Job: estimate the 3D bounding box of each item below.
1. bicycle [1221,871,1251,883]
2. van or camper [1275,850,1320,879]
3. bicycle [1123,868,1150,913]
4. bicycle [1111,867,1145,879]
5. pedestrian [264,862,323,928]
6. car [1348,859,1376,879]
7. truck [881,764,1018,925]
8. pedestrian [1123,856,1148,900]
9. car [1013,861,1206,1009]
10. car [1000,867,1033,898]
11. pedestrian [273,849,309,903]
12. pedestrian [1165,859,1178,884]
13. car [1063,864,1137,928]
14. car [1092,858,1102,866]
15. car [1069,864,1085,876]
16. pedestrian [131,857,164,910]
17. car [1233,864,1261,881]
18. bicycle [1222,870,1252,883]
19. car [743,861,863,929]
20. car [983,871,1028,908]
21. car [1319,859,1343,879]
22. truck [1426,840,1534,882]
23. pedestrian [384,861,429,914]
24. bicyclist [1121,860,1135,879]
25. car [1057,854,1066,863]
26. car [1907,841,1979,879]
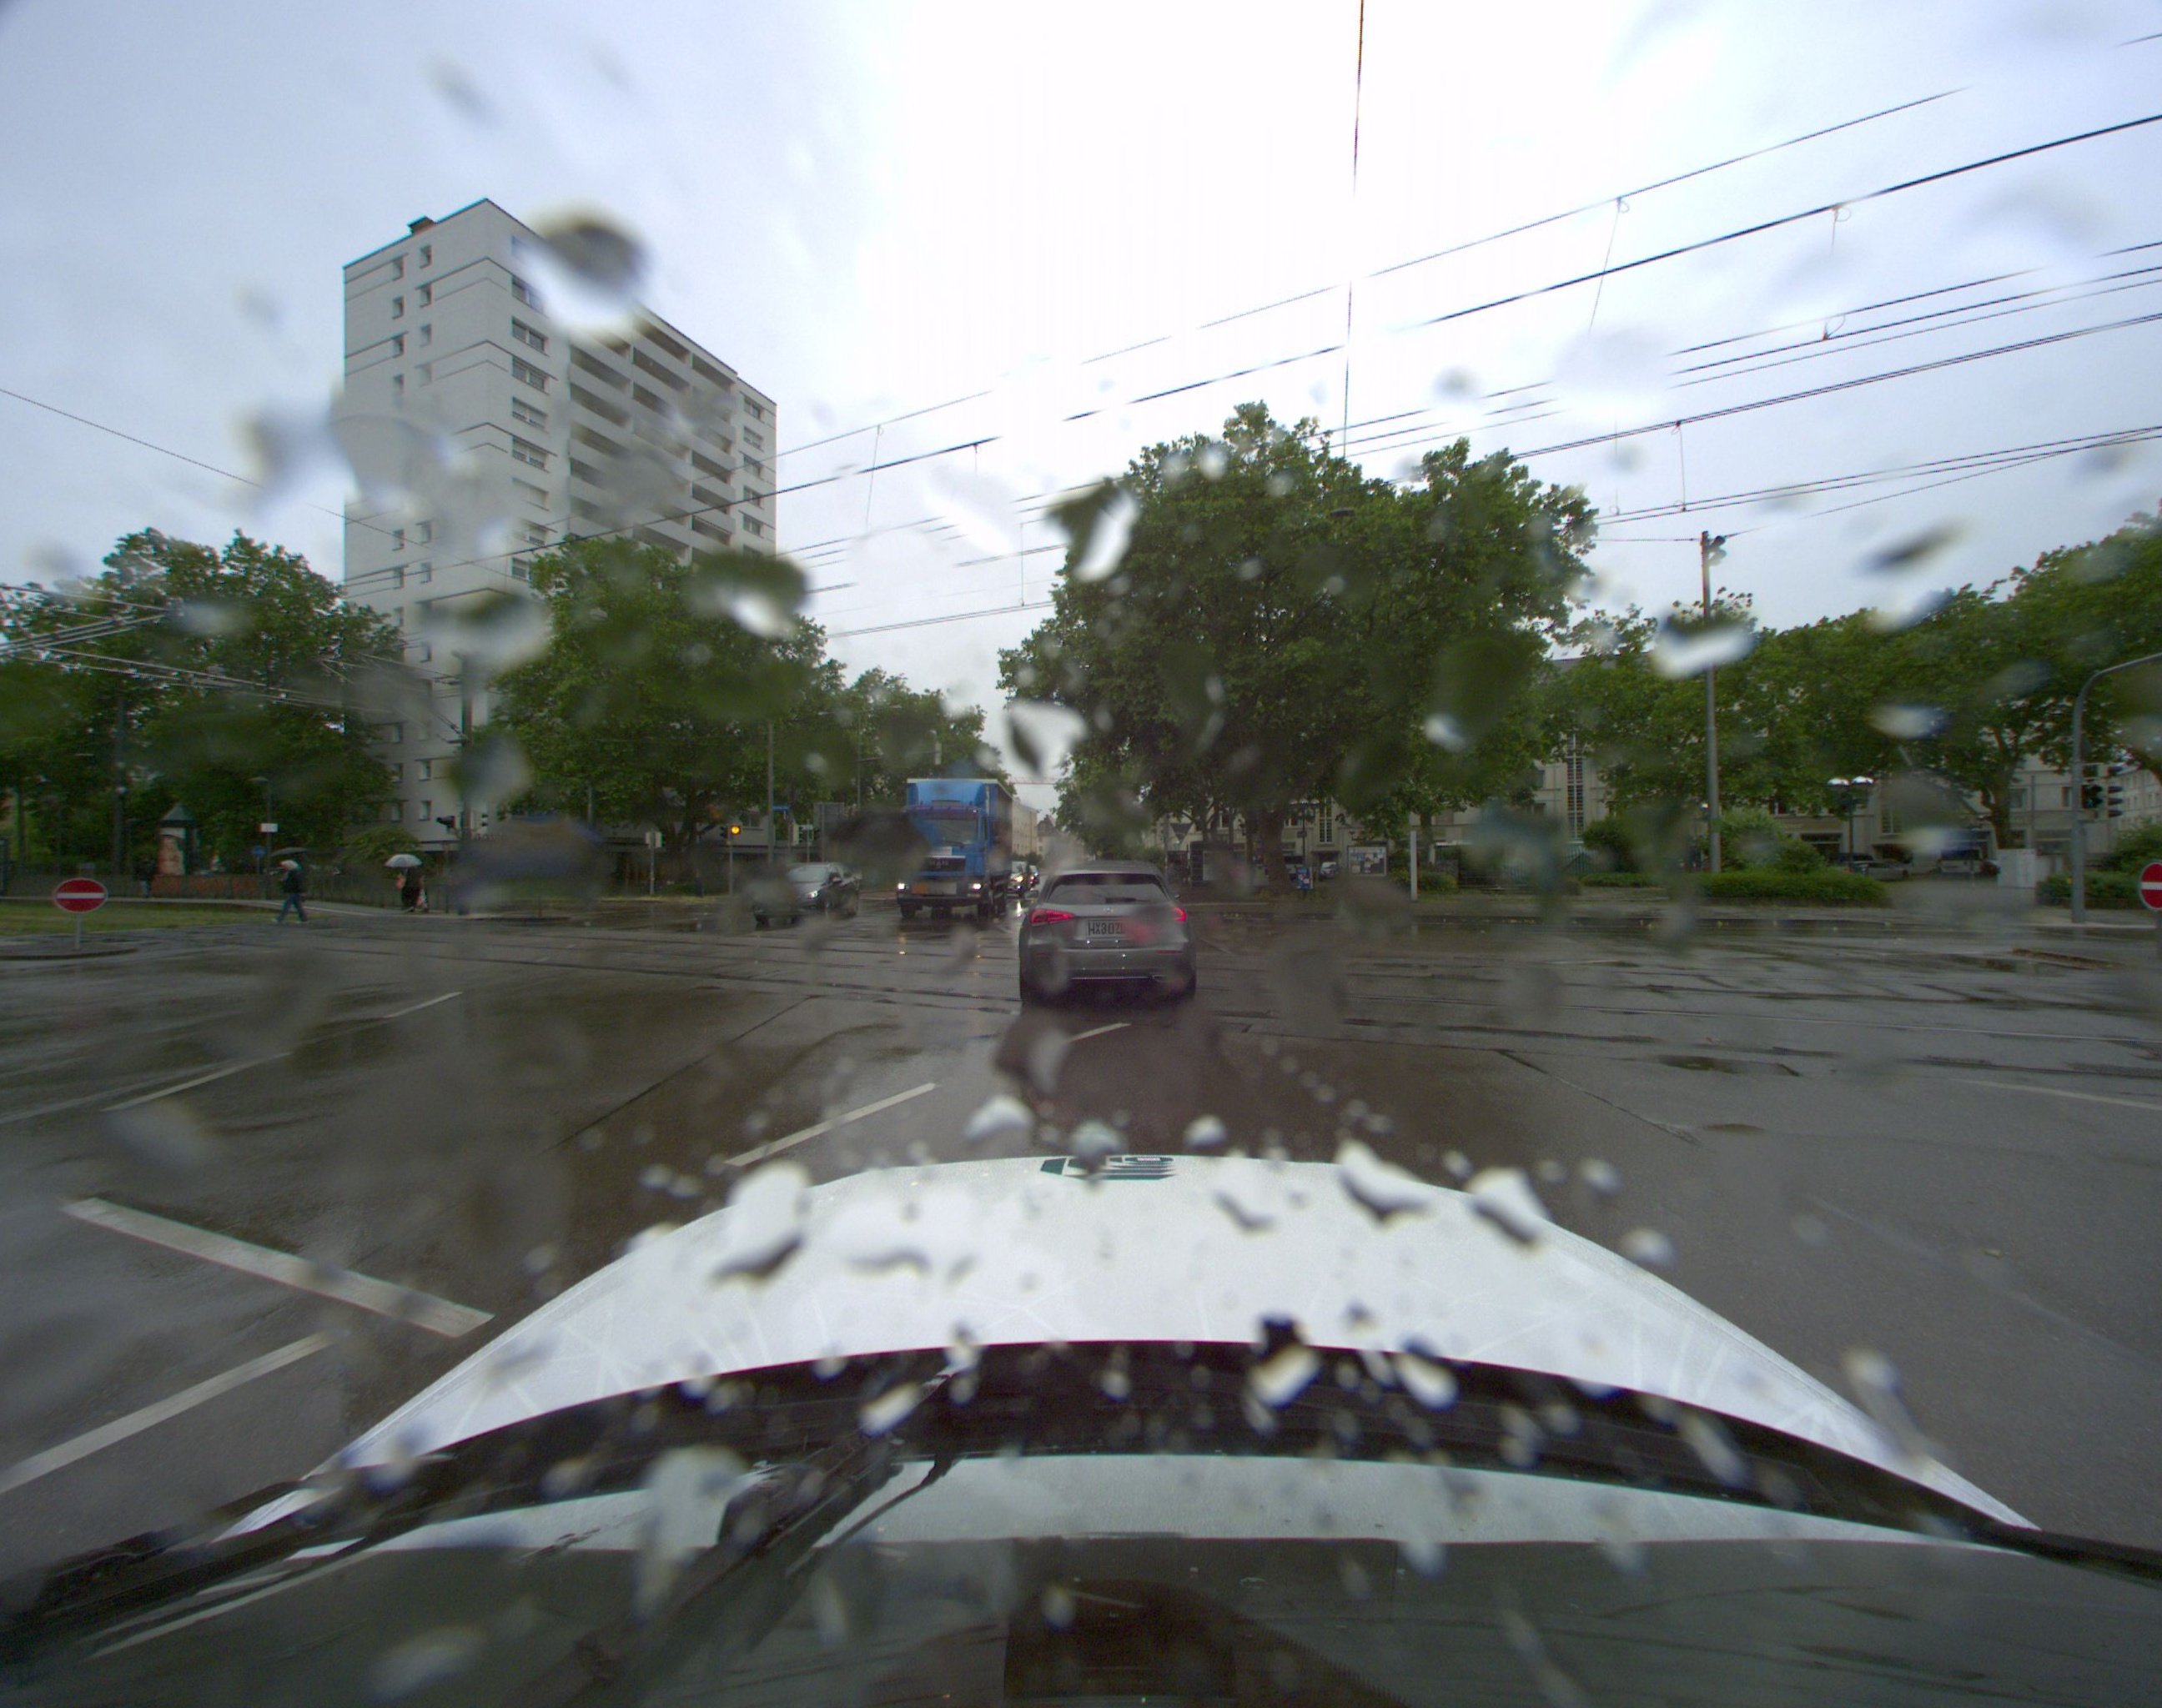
[{"bbox_3d":[11.937,1.772,62.803,2.232,0.968,0.537,-1,-1,22],"label":"bicycle"},{"bbox_3d":[17.605,0.857,66.008,2.374,2.231,5.461,-1,-1,27],"label":"van or camper"},{"bbox_3d":[1.867,1.195,27.171,0.745,1.377,2.711,-2,-1,6],"label":"bicycle"},{"bbox_3d":[4.762,1.875,82.038,3.216,1.112,1.047,-1,-4,-20],"label":"bicycle"},{"bbox_3d":[-20.537,1.059,21.254,0.829,1.648,0.759,-2,-1,14],"label":"pedestrian"},{"bbox_3d":[22.343,1.196,64.695,1.664,1.432,3.756,-1,-3,25],"label":"car"},{"bbox_3d":[-3.709,-0.190,25.729,2.838,4.025,10.309,-1,-1,-2],"label":"truck"},{"bbox_3d":[1.822,0.791,26.918,0.740,1.398,1.049,-2,-1,6],"label":"pedestrian"},{"bbox_3d":[0.241,0.777,9.361,1.786,1.372,3.505,1,-1,-1],"label":"car"},{"bbox_3d":[-4.047,1.769,51.507,1.801,1.862,4.107,-1,-1,-1],"label":"car"},{"bbox_3d":[-27.090,0.744,27.942,0.671,1.838,0.643,-2,-1,22],"label":"pedestrian"},{"bbox_3d":[6.269,1.216,56.284,0.716,1.669,0.663,0,-1,-7],"label":"pedestrian"},{"bbox_3d":[0.380,0.954,19.995,1.602,1.372,3.998,-1,-1,-1],"label":"car"},{"bbox_3d":[3.462,1.771,176.696,2.038,1.836,4.795,-1,-1,3],"label":"car"},{"bbox_3d":[-0.523,2.154,108.382,1.988,1.574,3.996,-1,-1,-2],"label":"car"},{"bbox_3d":[-37.513,1.181,32.729,0.694,2.077,0.640,-1,-1,18],"label":"pedestrian"},{"bbox_3d":[13.730,1.554,67.306,1.568,1.337,3.279,-2,-3,23],"label":"car"},{"bbox_3d":[12.168,1.769,63.420,2.227,0.968,0.588,-1,-1,22],"label":"bicycle"},{"bbox_3d":[-7.142,0.988,21.409,1.722,1.546,4.337,-1,-1,-2],"label":"car"},{"bbox_3d":[-3.439,1.598,37.855,1.737,1.604,3.998,-1,-1,-1],"label":"car"},{"bbox_3d":[19.873,1.196,64.743,1.665,1.575,3.754,-1,-2,19],"label":"car"},{"bbox_3d":[26.870,0.519,55.158,6.326,2.700,2.279,-1,-1,20],"label":"truck"},{"bbox_3d":[-21.326,1.056,25.755,0.807,1.648,0.798,-2,-1,22],"label":"pedestrian"},{"bbox_3d":[4.742,1.559,81.998,0.941,1.869,1.135,0,-4,-19],"label":"bicyclist"},{"bbox_3d":[-4.400,1.063,184.042,1.882,1.836,4.002,-1,-1,3],"label":"car"},{"bbox_3d":[53.646,0.442,50.772,1.535,2.204,4.120,-1,-3,24],"label":"car"}]
